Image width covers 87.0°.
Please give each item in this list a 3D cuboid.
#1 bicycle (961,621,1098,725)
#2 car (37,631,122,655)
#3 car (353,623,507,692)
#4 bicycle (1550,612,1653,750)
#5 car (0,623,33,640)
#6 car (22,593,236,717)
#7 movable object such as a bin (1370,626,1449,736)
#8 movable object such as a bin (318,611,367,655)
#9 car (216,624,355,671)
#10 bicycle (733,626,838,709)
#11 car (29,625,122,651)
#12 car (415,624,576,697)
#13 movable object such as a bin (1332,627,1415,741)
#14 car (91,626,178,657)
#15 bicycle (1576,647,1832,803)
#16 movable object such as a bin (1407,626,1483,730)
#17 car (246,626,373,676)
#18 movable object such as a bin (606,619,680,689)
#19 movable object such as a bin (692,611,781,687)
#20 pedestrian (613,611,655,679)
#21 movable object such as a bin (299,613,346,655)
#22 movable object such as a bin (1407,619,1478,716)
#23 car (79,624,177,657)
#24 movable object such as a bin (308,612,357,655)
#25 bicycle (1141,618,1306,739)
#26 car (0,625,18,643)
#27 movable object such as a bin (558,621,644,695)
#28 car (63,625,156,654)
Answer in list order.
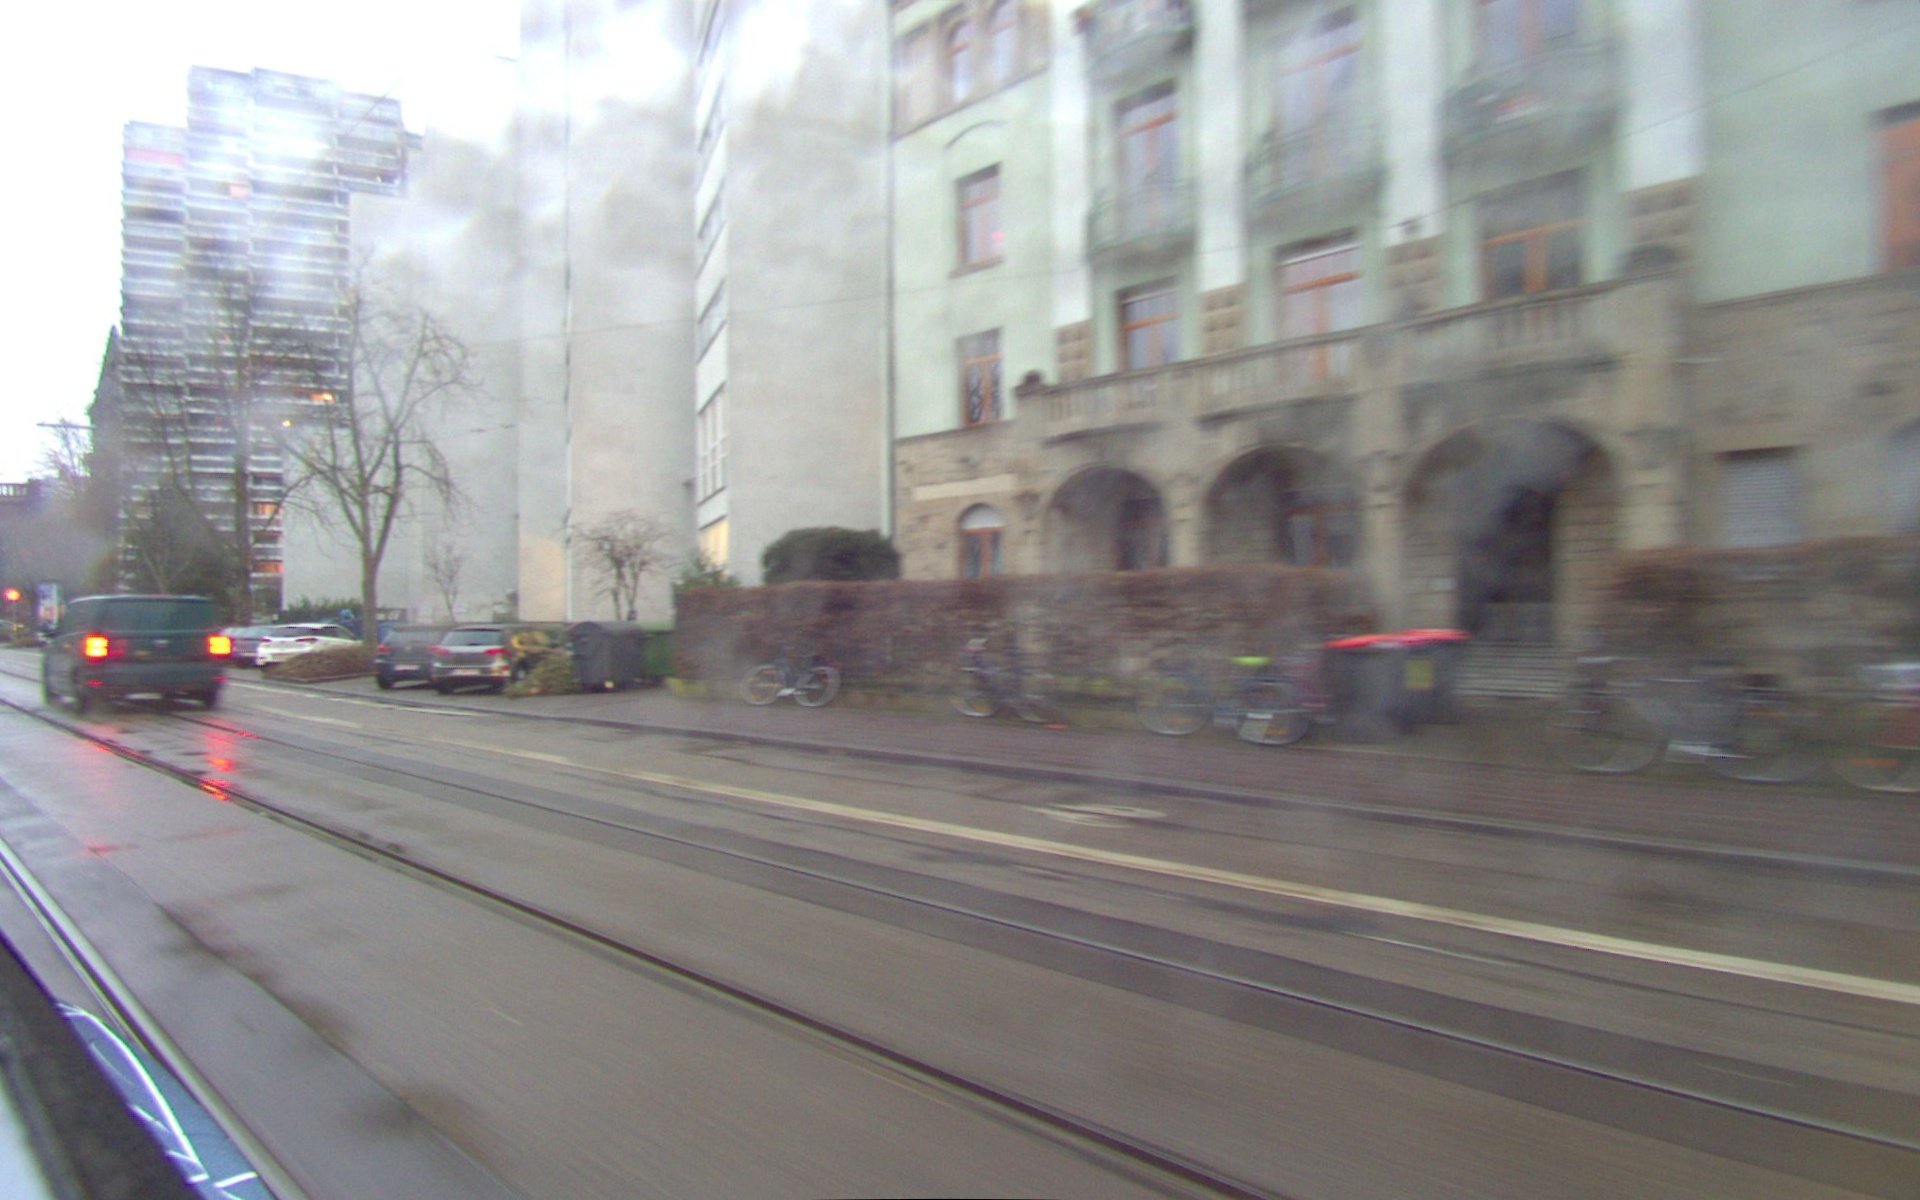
[{"bbox_3d":[0.853,0.882,12.603,1.591,1.222,0.624,-2,-2,32],"label":"bicycle"},{"bbox_3d":[-54.202,2.615,62.402,1.829,1.410,4.000,-1,-2,-1],"label":"car"},{"bbox_3d":[-12.421,1.297,24.001,1.804,1.482,4.004,-1,-1,-4],"label":"car"},{"bbox_3d":[6.505,0.783,10.234,0.490,1.273,1.571,4,2,44],"label":"bicycle"},{"bbox_3d":[-84.630,2.770,89.437,3.940,1.497,1.673,1,-3,-43],"label":"car"},{"bbox_3d":[-15.037,0.945,18.211,5.095,1.937,2.025,-2,-2,40],"label":"car"},{"bbox_3d":[4.916,0.867,11.049,0.739,1.146,0.689,-2,-2,27],"label":"movable object such as a bin"},{"bbox_3d":[-27.068,1.437,44.366,1.317,1.874,1.553,-4,-3,42],"label":"movable object such as a bin"},{"bbox_3d":[-22.616,1.578,34.126,1.715,1.474,3.992,0,-2,6],"label":"car"},{"bbox_3d":[-2.714,1.029,15.664,1.593,1.222,0.686,-2,-2,36],"label":"bicycle"},{"bbox_3d":[-49.702,2.125,56.973,1.829,1.389,4.000,-1,-2,-1],"label":"car"},{"bbox_3d":[-10.043,1.271,22.234,1.821,1.439,4.001,-1,-2,-2],"label":"car"},{"bbox_3d":[4.373,0.863,10.690,0.739,1.146,0.689,-2,-2,27],"label":"movable object such as a bin"},{"bbox_3d":[-42.208,2.116,51.855,1.705,1.504,3.452,-1,-2,-1],"label":"car"},{"bbox_3d":[6.032,0.963,8.269,1.593,1.038,0.685,3,0,39],"label":"bicycle"},{"bbox_3d":[5.586,0.878,11.671,0.739,1.146,0.689,-2,-2,27],"label":"movable object such as a bin"},{"bbox_3d":[-20.067,1.540,31.421,1.710,1.434,3.856,-1,-2,-5],"label":"car"},{"bbox_3d":[-6.848,1.152,21.907,1.103,1.461,1.085,-1,-2,20],"label":"movable object such as a bin"},{"bbox_3d":[-4.482,0.964,20.262,1.248,1.461,1.327,1,-3,-42],"label":"movable object such as a bin"},{"bbox_3d":[-8.219,1.124,25.496,0.972,1.690,0.590,-2,-3,41],"label":"pedestrian"},{"bbox_3d":[-29.124,1.537,46.235,1.317,1.874,1.553,-4,-3,42],"label":"movable object such as a bin"},{"bbox_3d":[5.893,0.809,12.372,0.739,1.146,0.689,-2,-2,27],"label":"movable object such as a bin"},{"bbox_3d":[-40.167,1.950,48.974,1.671,1.504,3.856,-1,-2,-3],"label":"car"},{"bbox_3d":[-28.081,1.495,45.304,1.393,1.874,1.553,-4,-3,42],"label":"movable object such as a bin"},{"bbox_3d":[2.855,0.825,11.013,1.591,1.222,0.687,-2,-2,32],"label":"bicycle"},{"bbox_3d":[-83.046,2.900,86.347,3.940,1.497,1.673,1,-3,-43],"label":"car"},{"bbox_3d":[-7.283,1.163,20.579,1.103,1.461,1.259,-1,-2,19],"label":"movable object such as a bin"},{"bbox_3d":[-44.584,2.048,53.158,1.765,1.457,4.004,-1,-2,-5],"label":"car"}]
